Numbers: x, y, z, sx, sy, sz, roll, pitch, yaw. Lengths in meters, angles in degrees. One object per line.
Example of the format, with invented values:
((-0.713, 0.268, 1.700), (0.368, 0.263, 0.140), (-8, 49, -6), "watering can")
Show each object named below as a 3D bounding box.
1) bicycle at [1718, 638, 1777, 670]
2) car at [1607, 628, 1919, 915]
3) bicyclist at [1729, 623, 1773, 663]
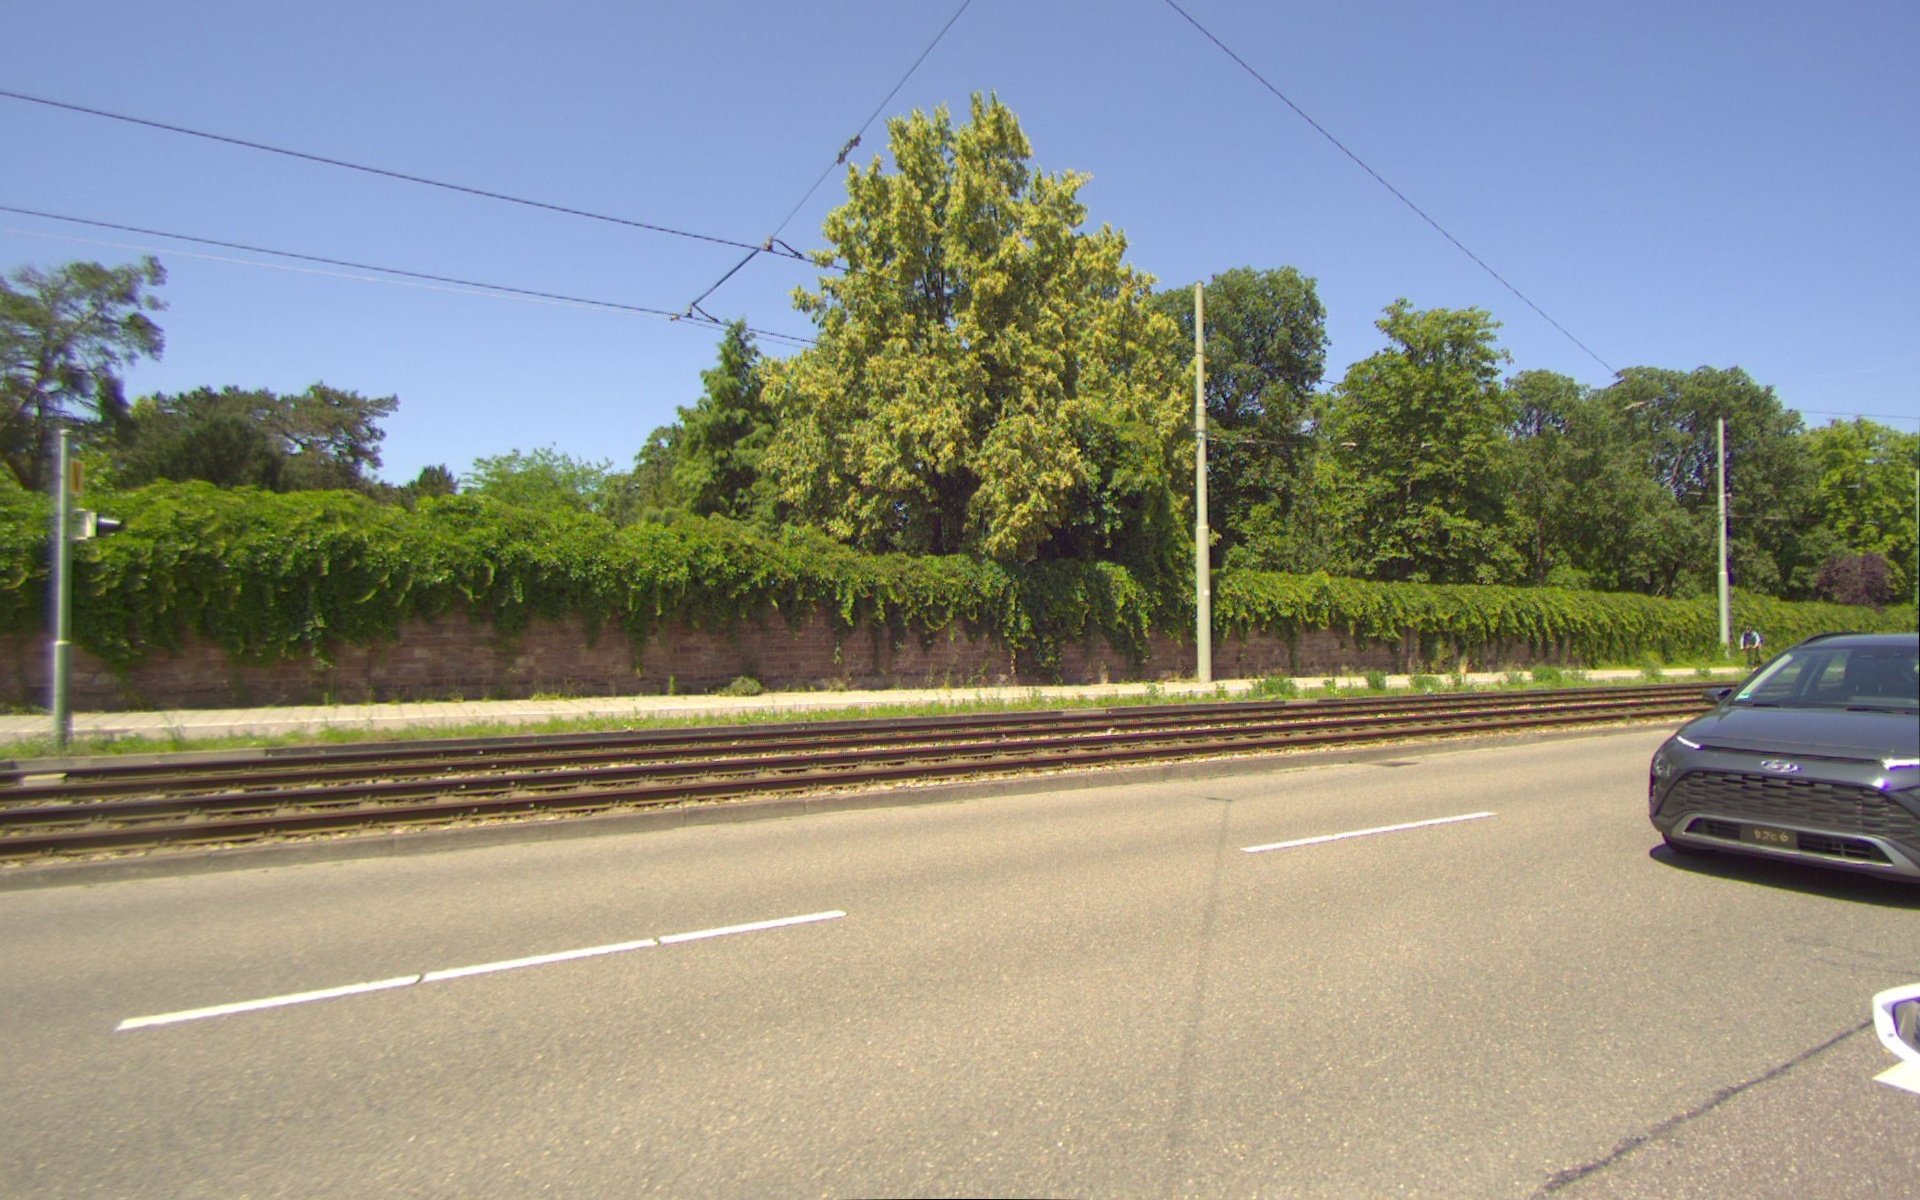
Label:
((29.702, 2.027, 37.882), (2.654, 1.171, 0.824), (1, -2, -30), "bicycle")
((6.279, 0.919, 6.657), (4.093, 1.440, 1.705), (1, -2, -31), "car")
((29.933, 1.610, 38.020), (0.988, 1.505, 0.990), (1, -2, -30), "bicyclist")
